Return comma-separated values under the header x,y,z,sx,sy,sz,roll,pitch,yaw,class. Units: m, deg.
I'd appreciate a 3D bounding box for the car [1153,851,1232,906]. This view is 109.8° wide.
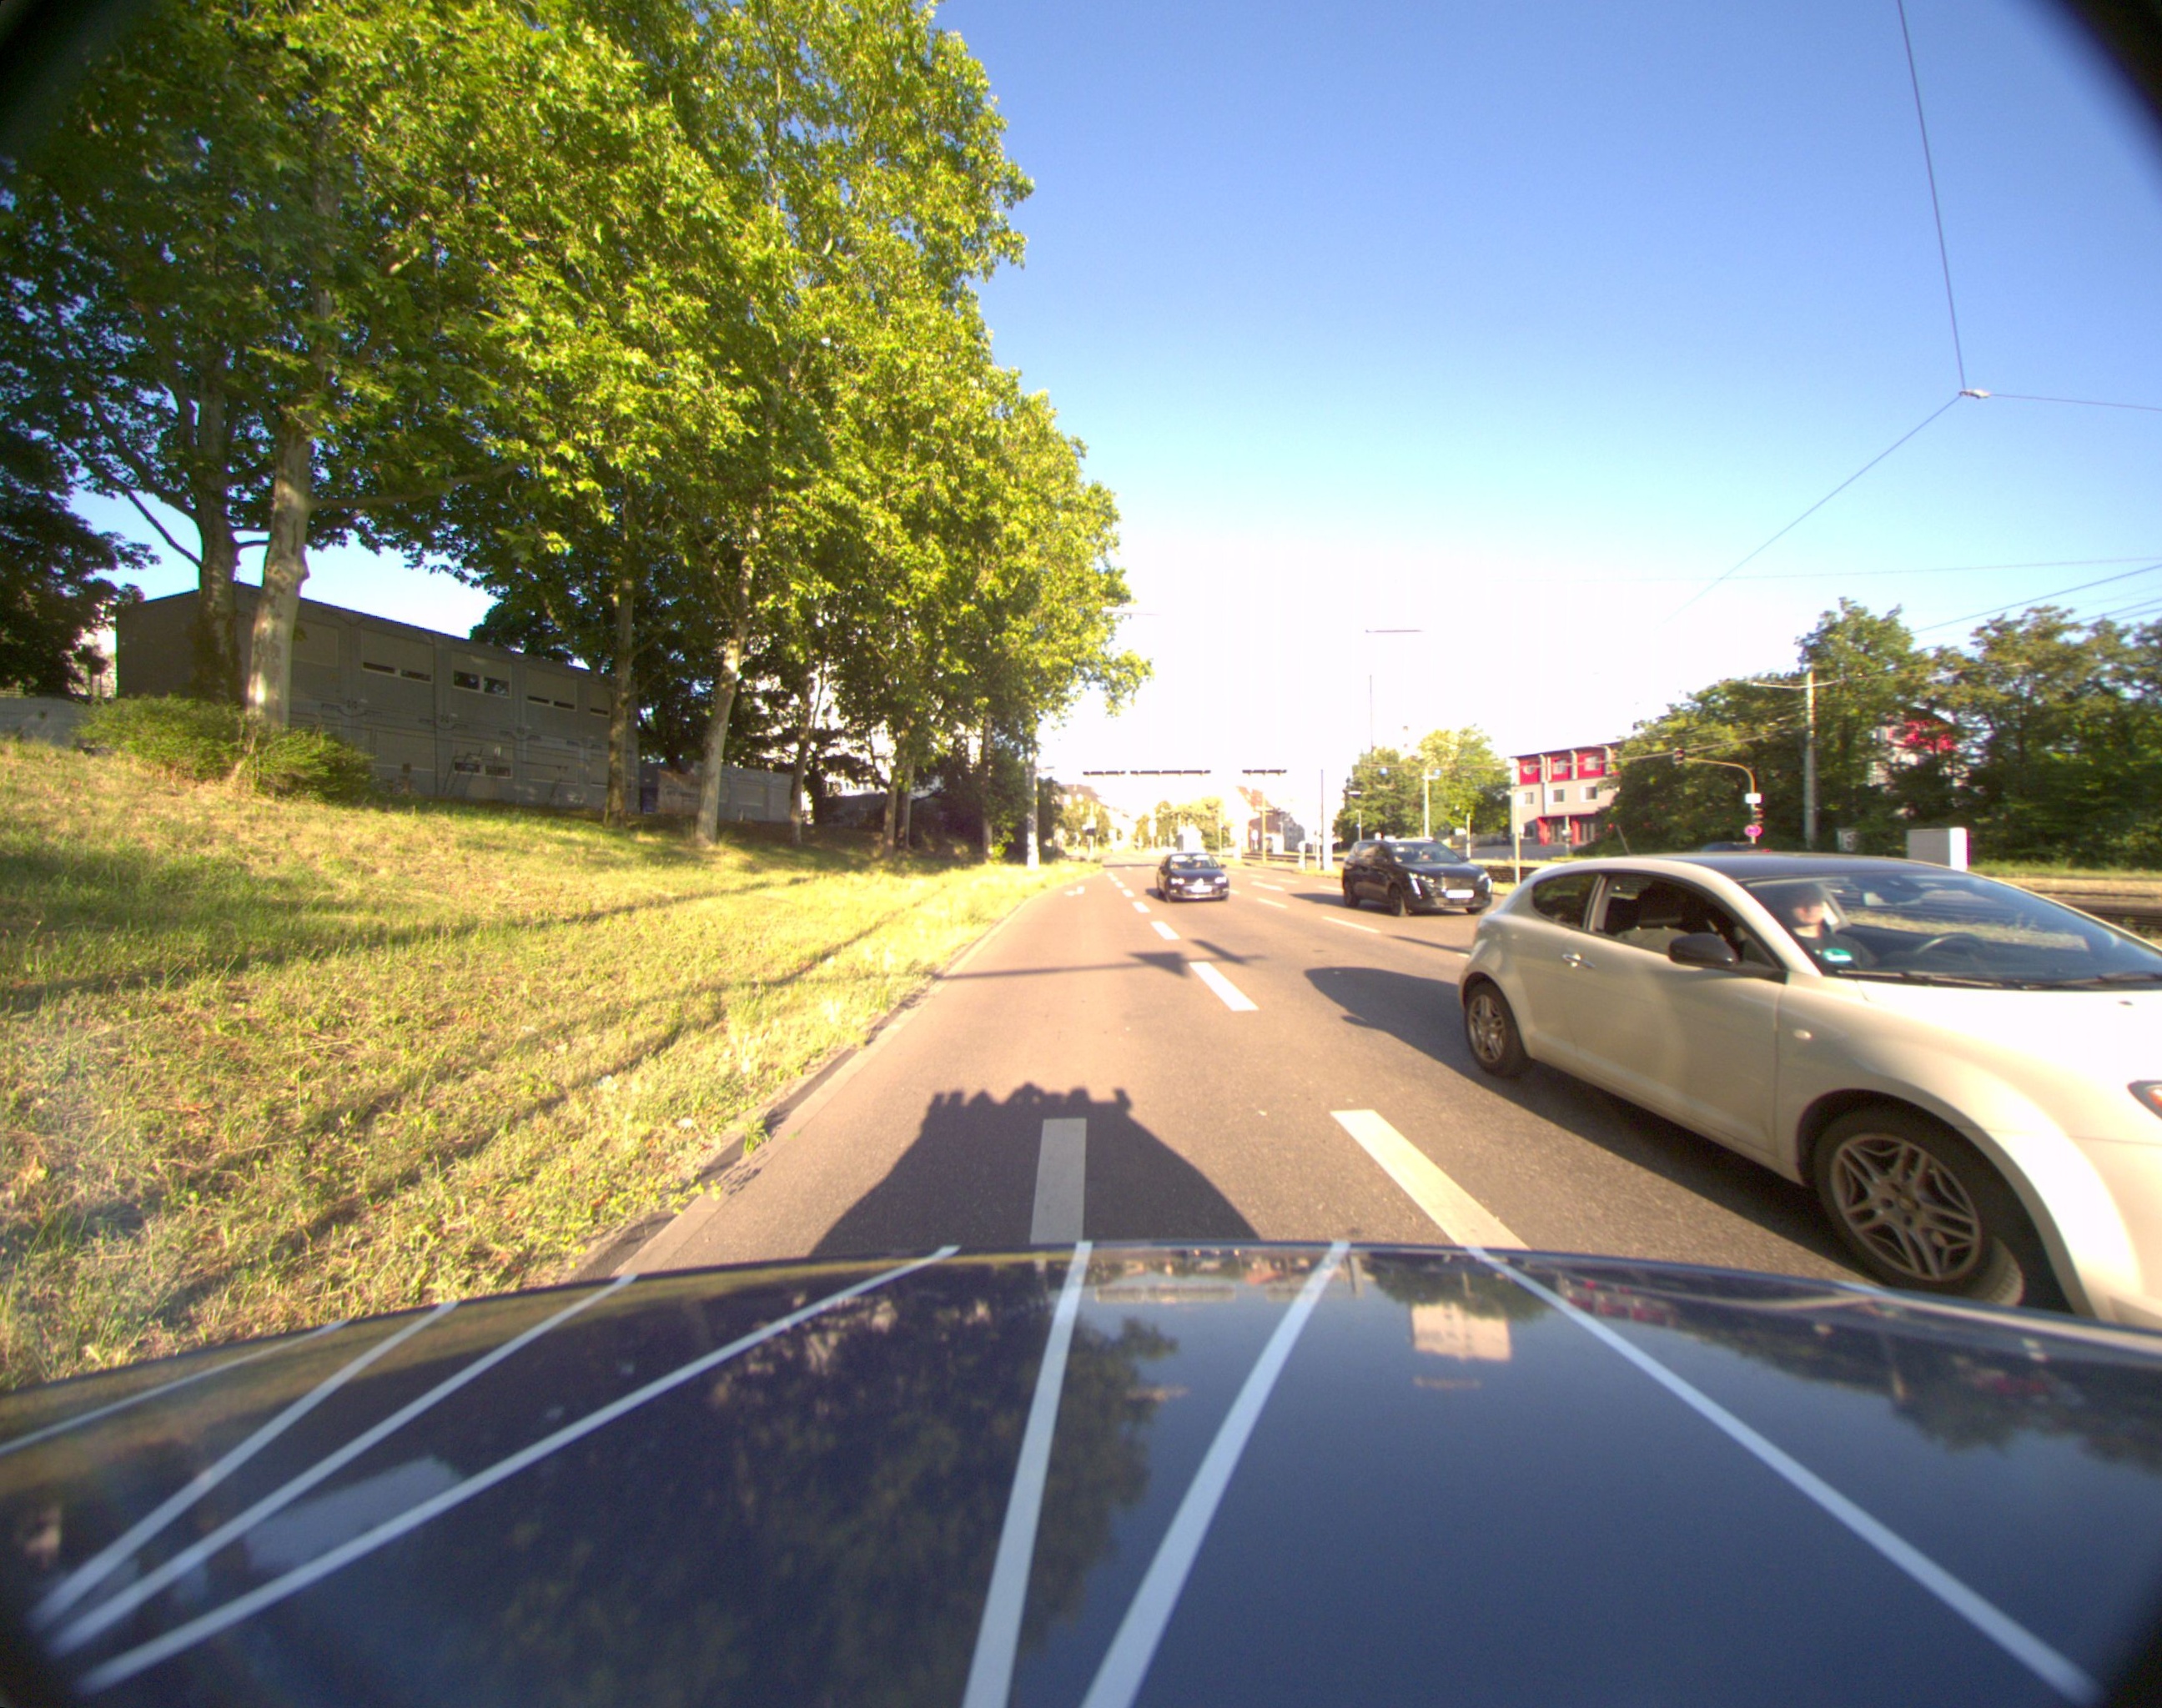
x,y,z,sx,sy,sz,roll,pitch,yaw,class
3.259,0.667,22.900,1.741,1.429,3.999,-2,1,-1,car

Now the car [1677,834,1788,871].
x,y,z,sx,sy,sz,roll,pitch,yaw,class
32.889,-0.086,38.557,1.752,1.669,4.757,-2,0,4,car

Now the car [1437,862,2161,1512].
x,y,z,sx,sy,sz,roll,pitch,yaw,class
3.447,0.823,3.466,1.741,1.496,3.999,-1,0,-1,car

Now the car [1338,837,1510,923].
x,y,z,sx,sy,sz,roll,pitch,yaw,class
7.417,0.497,16.969,1.905,1.652,4.276,-1,0,0,car
